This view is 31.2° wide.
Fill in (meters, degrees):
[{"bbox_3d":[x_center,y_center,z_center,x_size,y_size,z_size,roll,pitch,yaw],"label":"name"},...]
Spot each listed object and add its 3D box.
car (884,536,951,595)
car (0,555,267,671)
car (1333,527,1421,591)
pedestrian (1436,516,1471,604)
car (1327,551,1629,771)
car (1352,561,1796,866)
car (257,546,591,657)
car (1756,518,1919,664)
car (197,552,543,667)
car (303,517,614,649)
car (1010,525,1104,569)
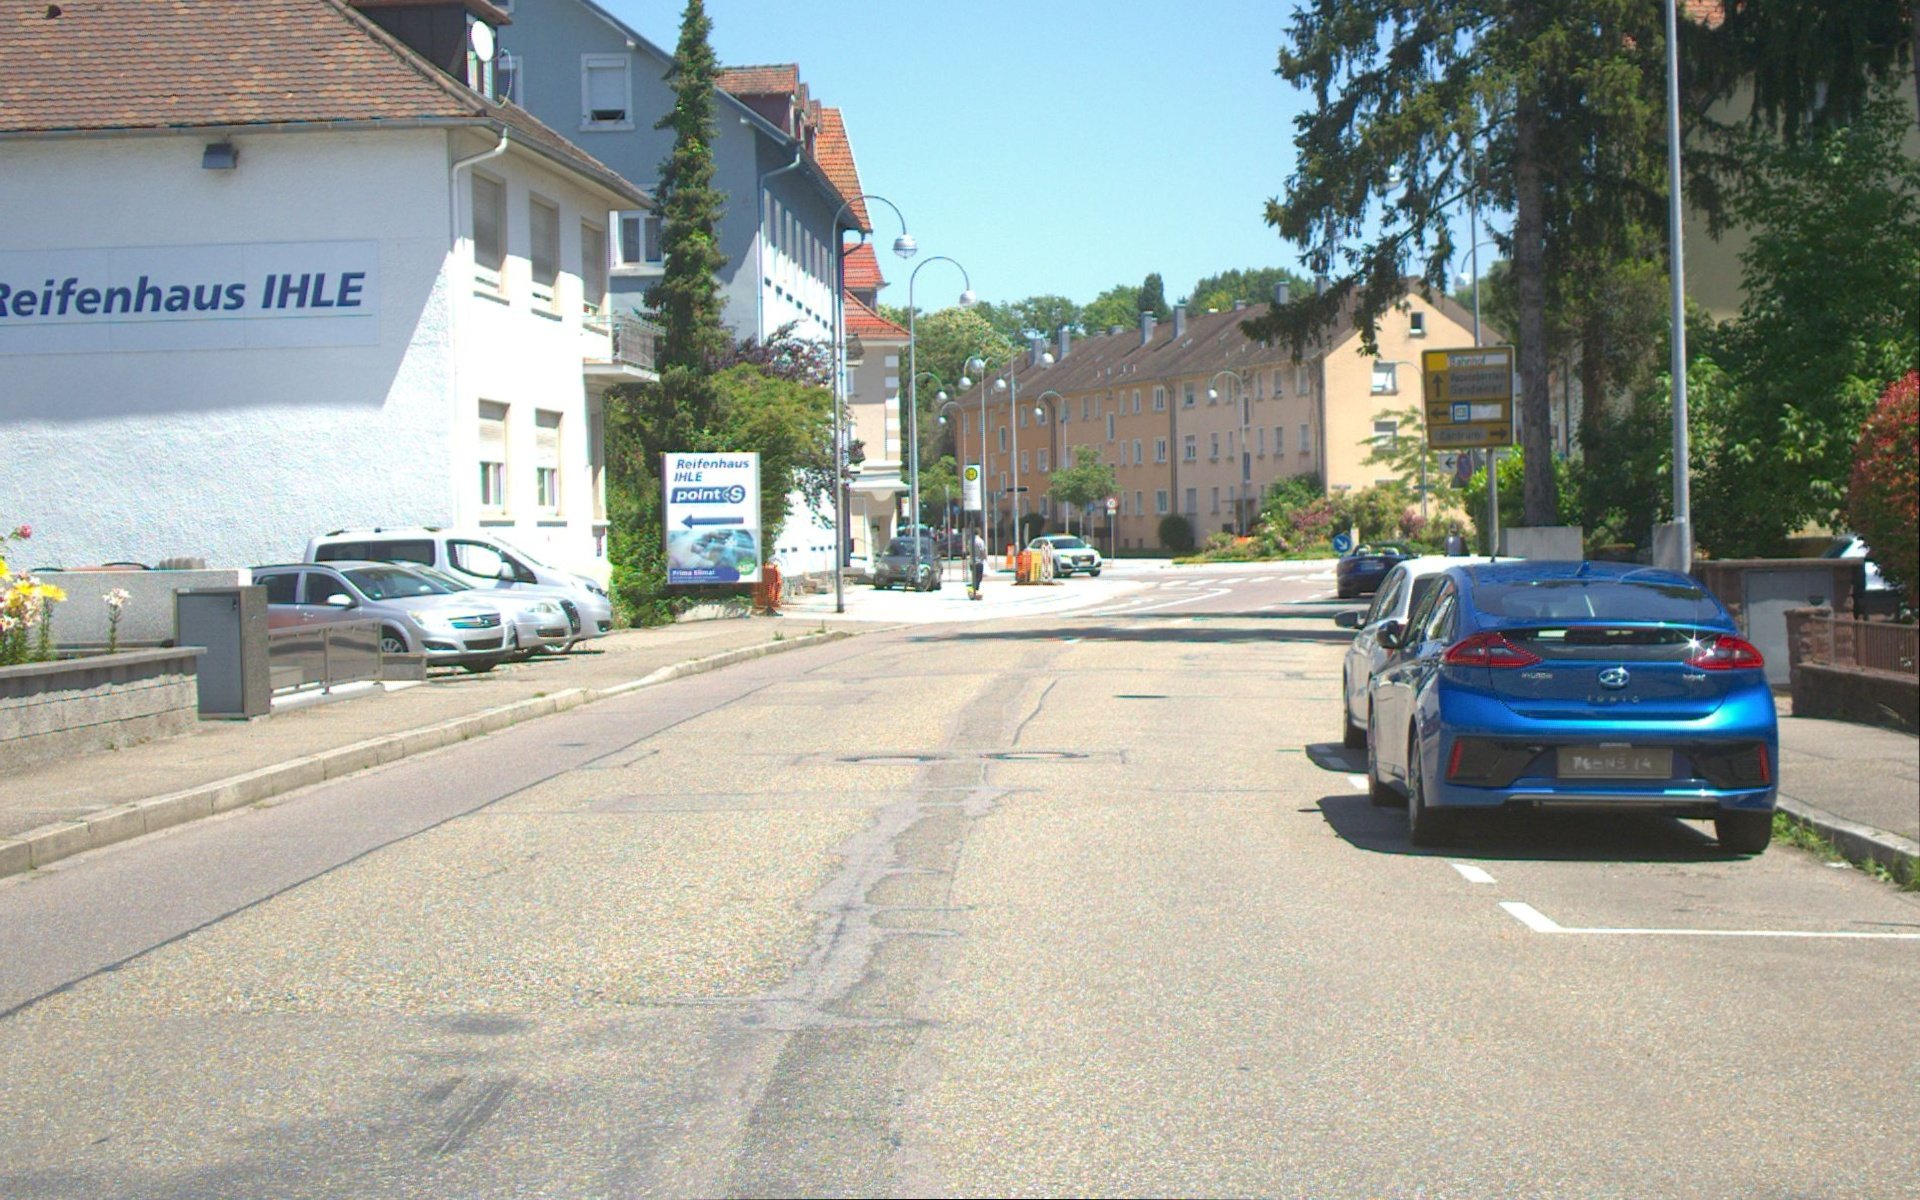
[{"bbox_3d":[-1.200,-0.996,98.731,1.757,1.650,4.000,0,1,2],"label":"car"},{"bbox_3d":[-10.694,0.144,42.553,4.137,1.339,1.830,0,2,36],"label":"car"},{"bbox_3d":[10.301,-1.022,84.681,1.795,1.505,3.998,0,1,12],"label":"car"},{"bbox_3d":[10.051,-0.807,69.946,0.689,1.764,0.691,0,-1,9],"label":"pedestrian"},{"bbox_3d":[3.679,0.377,25.025,1.725,1.414,4.014,1,1,2],"label":"car"},{"bbox_3d":[3.185,0.519,18.620,1.778,1.401,4.286,1,1,2],"label":"car"},{"bbox_3d":[-7.118,0.003,45.907,4.129,1.389,1.828,-1,1,2],"label":"car"},{"bbox_3d":[11.112,-0.122,38.549,3.987,1.605,1.833,0,1,2],"label":"car"},{"bbox_3d":[-7.383,0.096,42.920,4.137,1.339,1.907,0,2,36],"label":"car"},{"bbox_3d":[-7.020,-0.251,48.461,4.128,1.768,1.829,-1,1,-2],"label":"car"},{"bbox_3d":[3.589,-1.959,127.718,1.596,1.601,3.409,-2,2,-40],"label":"car"}]
